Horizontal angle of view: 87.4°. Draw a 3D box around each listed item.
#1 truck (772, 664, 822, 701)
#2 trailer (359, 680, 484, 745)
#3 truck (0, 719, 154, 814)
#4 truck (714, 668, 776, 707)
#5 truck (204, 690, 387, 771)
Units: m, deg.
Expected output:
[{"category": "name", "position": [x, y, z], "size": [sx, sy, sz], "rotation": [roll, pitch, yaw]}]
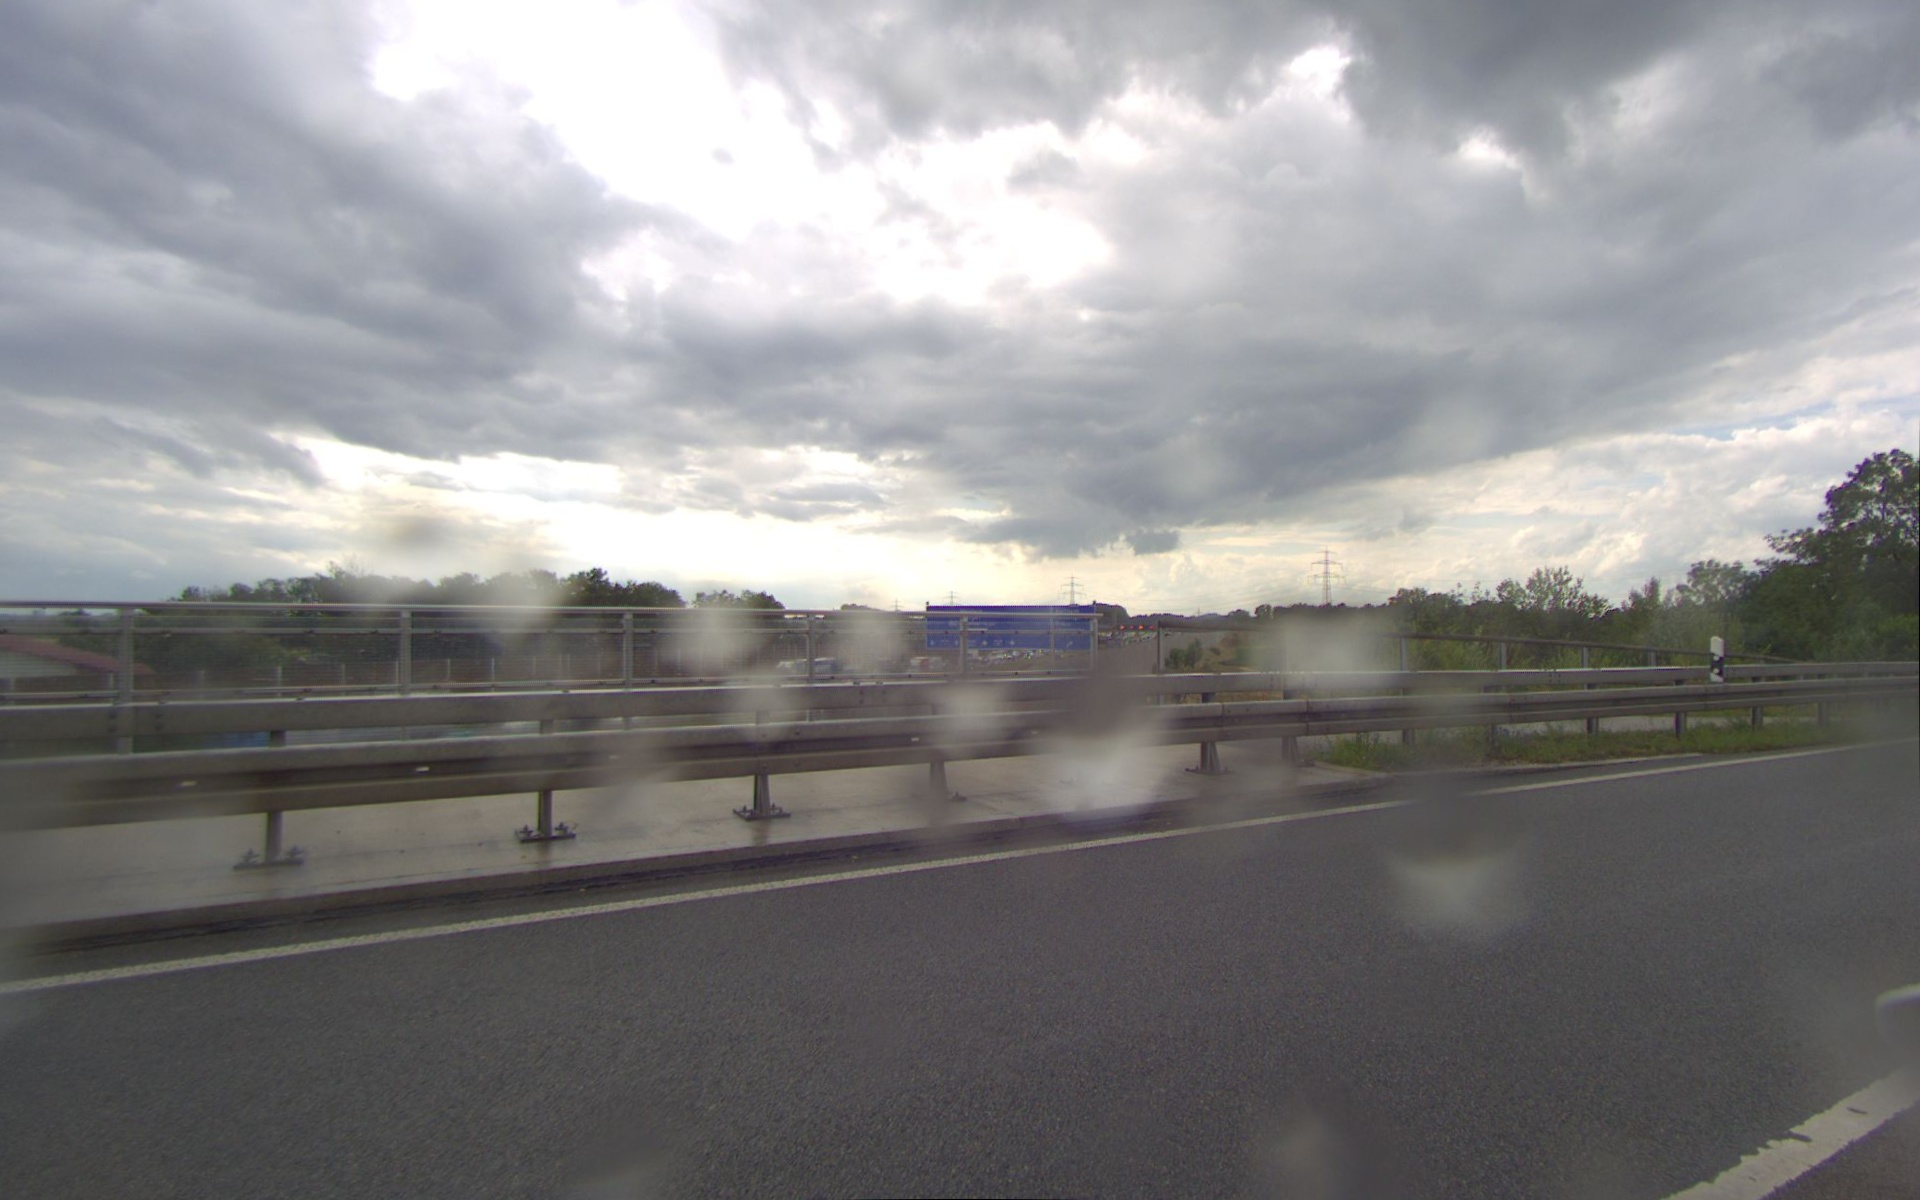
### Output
[{"category": "truck", "position": [-22.937, 11.591, 141.899], "size": [2.388, 4.250, 11.173], "rotation": [1, 0, 16]}, {"category": "trailer", "position": [-40.518, 8.372, 76.112], "size": [2.388, 3.812, 9.461], "rotation": [1, 0, 16]}, {"category": "truck", "position": [-48.930, 8.839, 52.593], "size": [2.388, 3.812, 11.173], "rotation": [1, 0, 16]}, {"category": "truck", "position": [-26.519, 10.735, 124.610], "size": [2.388, 3.812, 11.173], "rotation": [1, 0, 16]}, {"category": "truck", "position": [-43.352, 8.387, 66.208], "size": [2.388, 3.812, 11.173], "rotation": [1, 0, 16]}]
